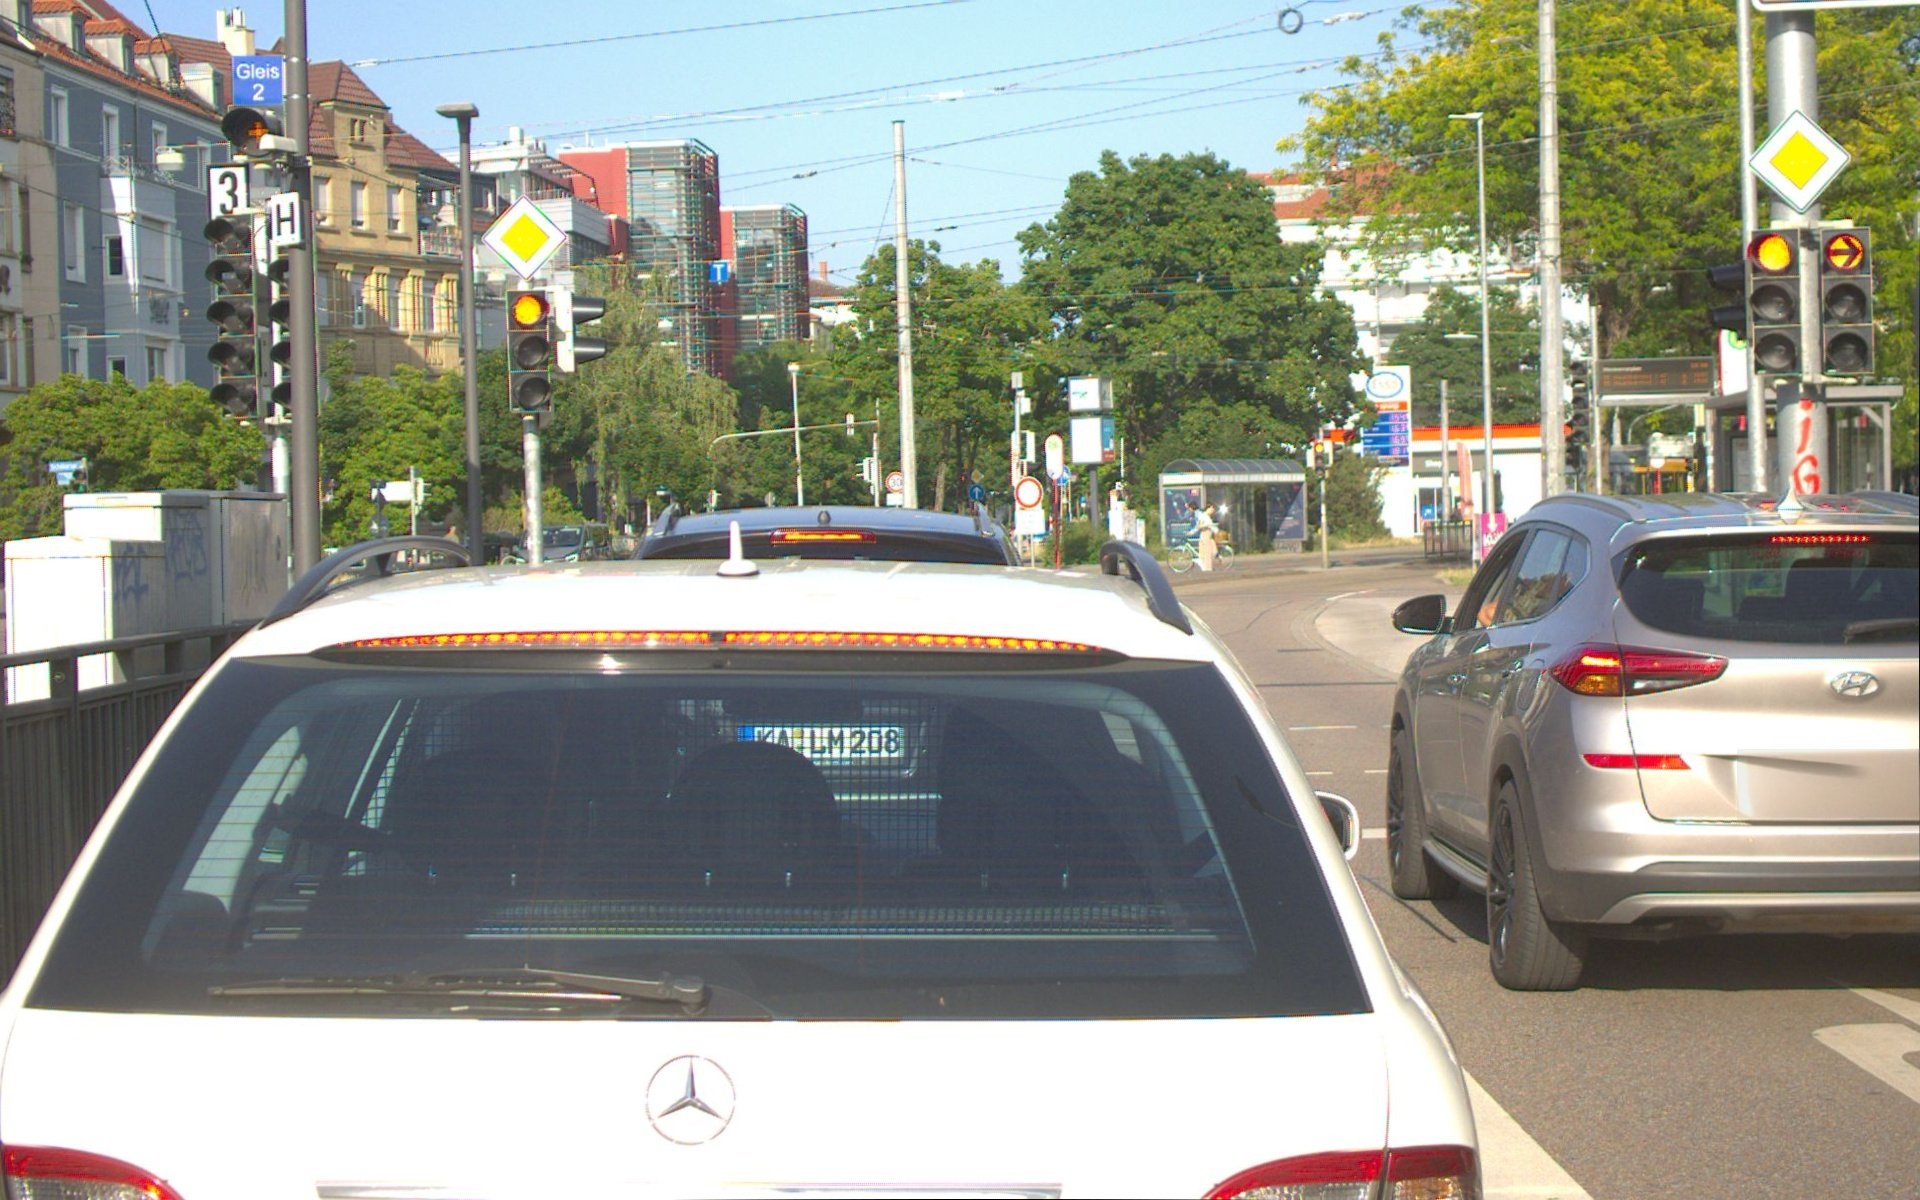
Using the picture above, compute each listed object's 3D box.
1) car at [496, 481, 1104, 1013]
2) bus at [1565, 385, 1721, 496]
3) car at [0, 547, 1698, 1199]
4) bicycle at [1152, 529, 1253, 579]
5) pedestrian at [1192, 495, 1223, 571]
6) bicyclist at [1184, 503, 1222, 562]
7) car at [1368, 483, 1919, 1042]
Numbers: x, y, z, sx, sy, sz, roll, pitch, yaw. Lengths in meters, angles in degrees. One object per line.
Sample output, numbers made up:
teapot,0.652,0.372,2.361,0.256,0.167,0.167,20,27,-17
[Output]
car,-0.516,0.423,12.591,1.885,1.645,3.648,1,1,0
bus,25.104,-5.747,125.782,3.112,3.593,12.360,1,1,23
car,-0.265,0.669,4.927,1.796,1.465,3.648,0,1,-1
bicycle,6.139,-1.167,86.963,2.483,1.209,0.806,-1,1,8
pedestrian,6.092,-1.639,84.570,0.642,1.850,0.551,-1,1,11
bicyclist,6.152,-1.707,86.933,0.861,1.476,0.789,-1,1,9
car,2.637,0.441,12.157,1.885,1.645,3.648,-2,1,0
